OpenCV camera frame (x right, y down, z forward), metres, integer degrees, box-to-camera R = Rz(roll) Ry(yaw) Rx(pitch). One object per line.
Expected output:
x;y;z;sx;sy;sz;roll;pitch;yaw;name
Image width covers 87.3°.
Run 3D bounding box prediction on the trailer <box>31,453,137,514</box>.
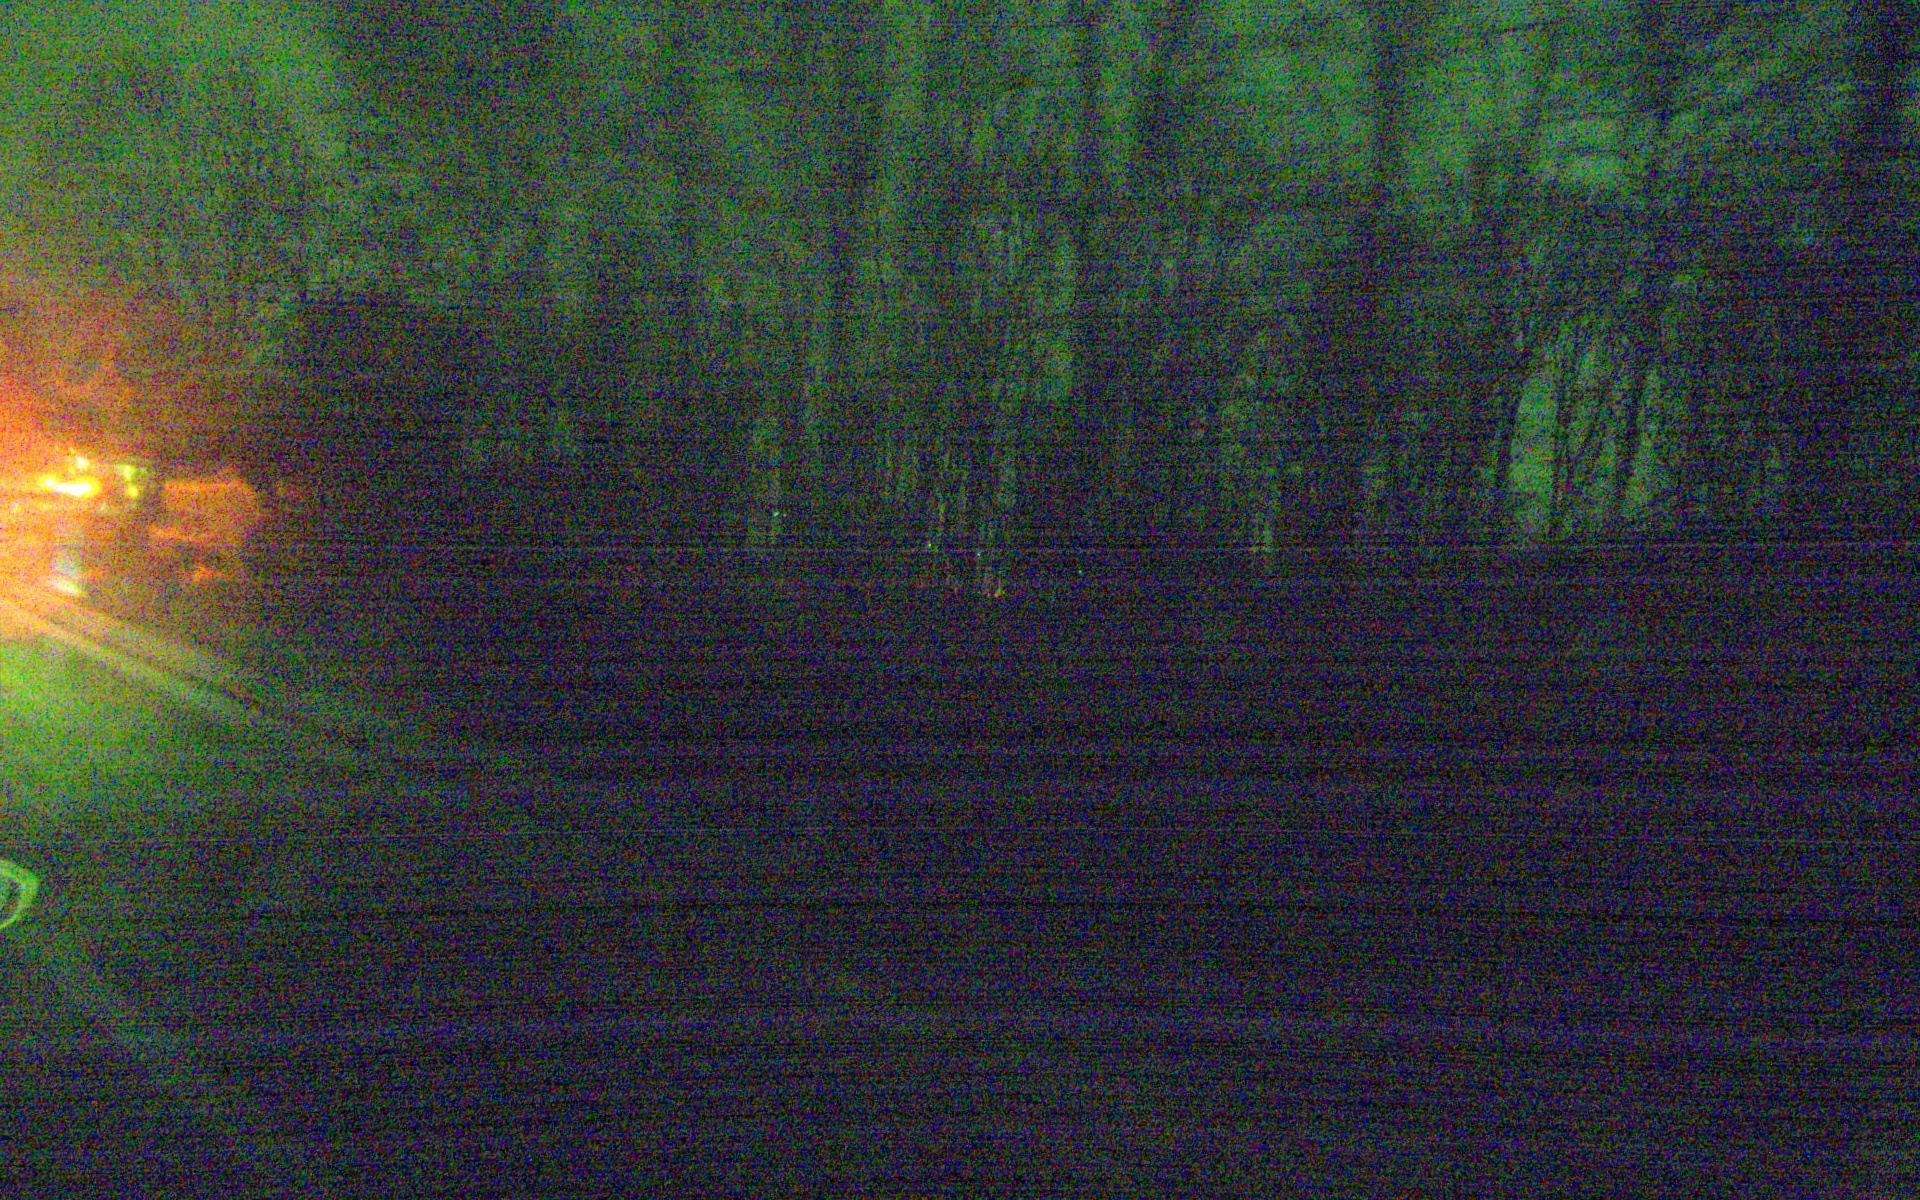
-41.196;-5.368;47.589;2.062;2.040;10.559;4;1;-32;trailer
